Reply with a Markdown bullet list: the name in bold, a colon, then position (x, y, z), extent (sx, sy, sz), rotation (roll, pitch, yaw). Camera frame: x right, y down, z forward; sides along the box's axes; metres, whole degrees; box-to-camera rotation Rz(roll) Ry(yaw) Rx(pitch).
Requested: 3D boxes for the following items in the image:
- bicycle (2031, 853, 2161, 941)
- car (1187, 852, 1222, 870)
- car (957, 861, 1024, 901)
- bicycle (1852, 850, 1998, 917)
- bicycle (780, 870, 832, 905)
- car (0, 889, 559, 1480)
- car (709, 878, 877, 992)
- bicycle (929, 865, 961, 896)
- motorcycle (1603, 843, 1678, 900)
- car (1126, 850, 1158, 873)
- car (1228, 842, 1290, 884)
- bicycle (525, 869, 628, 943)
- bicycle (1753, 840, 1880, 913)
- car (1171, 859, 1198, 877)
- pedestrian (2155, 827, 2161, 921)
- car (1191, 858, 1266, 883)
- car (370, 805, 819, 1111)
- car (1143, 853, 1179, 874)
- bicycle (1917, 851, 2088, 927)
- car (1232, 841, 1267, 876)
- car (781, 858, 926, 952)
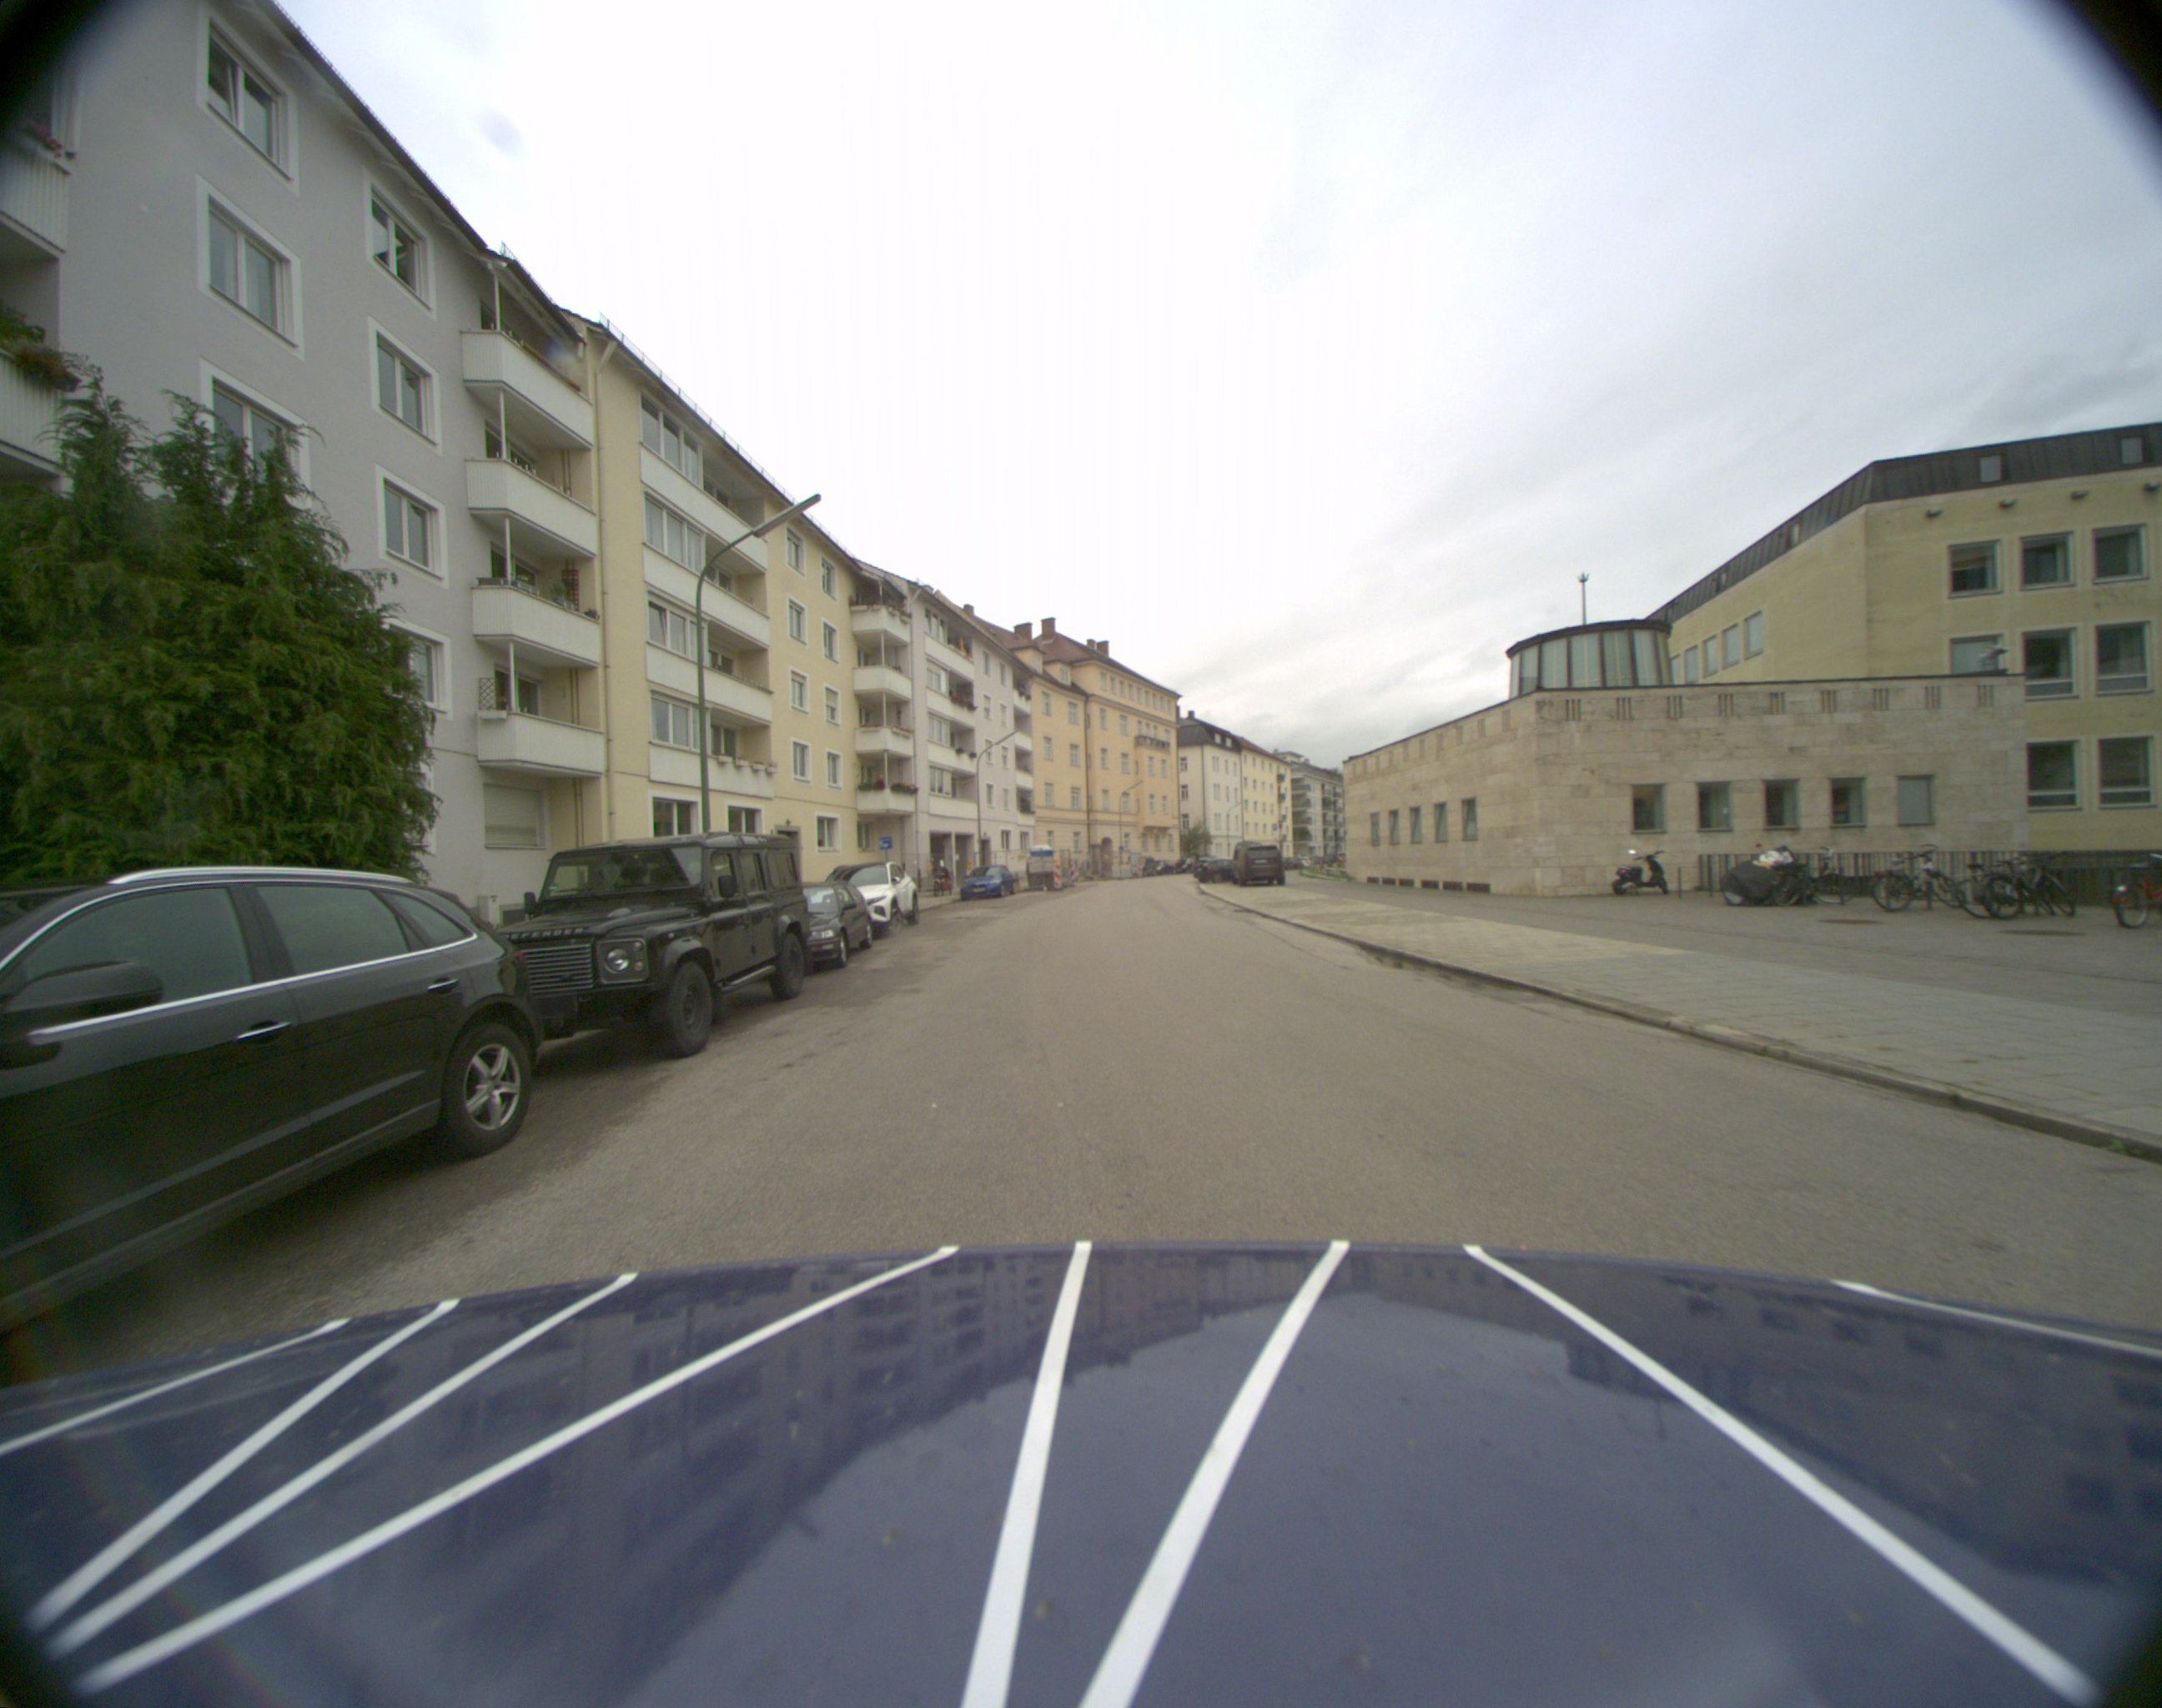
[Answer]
- **bicycle**: position (15.010, 0.595, 11.024), extent (2.052, 1.104, 0.616), rotation (-4, 0, -11)
- **car**: position (12.913, 0.769, 79.408), extent (1.929, 1.719, 4.696), rotation (-4, -2, 30)
- **car**: position (-3.845, 1.109, 33.015), extent (1.834, 1.433, 4.631), rotation (-6, -1, 5)
- **bicycle**: position (15.766, 0.541, 14.216), extent (2.051, 1.104, 0.617), rotation (-4, 0, -2)
- **bicycle**: position (-9.867, 1.211, 27.249), extent (1.703, 1.214, 0.433), rotation (-1, 0, 7)
- **car**: position (-3.978, 1.047, 2.527), extent (1.663, 1.556, 4.512), rotation (-4, 0, -6)
- **car**: position (-4.533, 1.194, 12.546), extent (1.663, 1.341, 3.801), rotation (-4, 1, -7)
- **bicycle**: position (-6.196, 1.196, 34.795), extent (0.811, 1.315, 2.776), rotation (-1, 0, 3)
- **motorcycle**: position (14.935, 0.466, 20.286), extent (1.568, 1.397, 0.515), rotation (-4, 0, -2)
- **car**: position (5.175, 0.602, 64.174), extent (1.839, 1.788, 4.243), rotation (-4, -1, 16)
- **car**: position (8.156, 0.413, 35.214), extent (1.998, 1.761, 4.816), rotation (-2, -1, 4)
- **bicycle**: position (-10.342, 1.020, 15.715), extent (0.745, 1.359, 2.469), rotation (1, 0, -7)
- **bicycle**: position (15.271, 0.453, 15.797), extent (2.104, 1.344, 0.613), rotation (-4, 0, -5)
- **car**: position (10.166, 1.380, 74.571), extent (1.509, 1.547, 2.868), rotation (-4, -1, 32)
- **pedestrian**: position (13.581, 0.448, 9.155), extent (0.645, 1.592, 0.605), rotation (-4, 0, -29)
- **car**: position (8.592, 0.931, 44.249), extent (4.011, 1.365, 1.746), rotation (0, 1, -22)
- **car**: position (-4.253, 0.779, 7.706), extent (1.752, 2.069, 4.515), rotation (-4, -1, -4)
- **car**: position (7.335, 0.854, 69.375), extent (1.838, 1.719, 3.737), rotation (-4, -1, 30)
- **bicycle**: position (15.338, 0.573, 12.668), extent (2.051, 1.104, 0.617), rotation (-4, 0, -1)
- **car**: position (13.274, 0.316, 59.587), extent (2.146, 2.559, 6.219), rotation (-1, 0, 17)
- **car**: position (-4.847, 1.027, 16.948), extent (2.032, 1.668, 4.612), rotation (-4, -1, -4)
